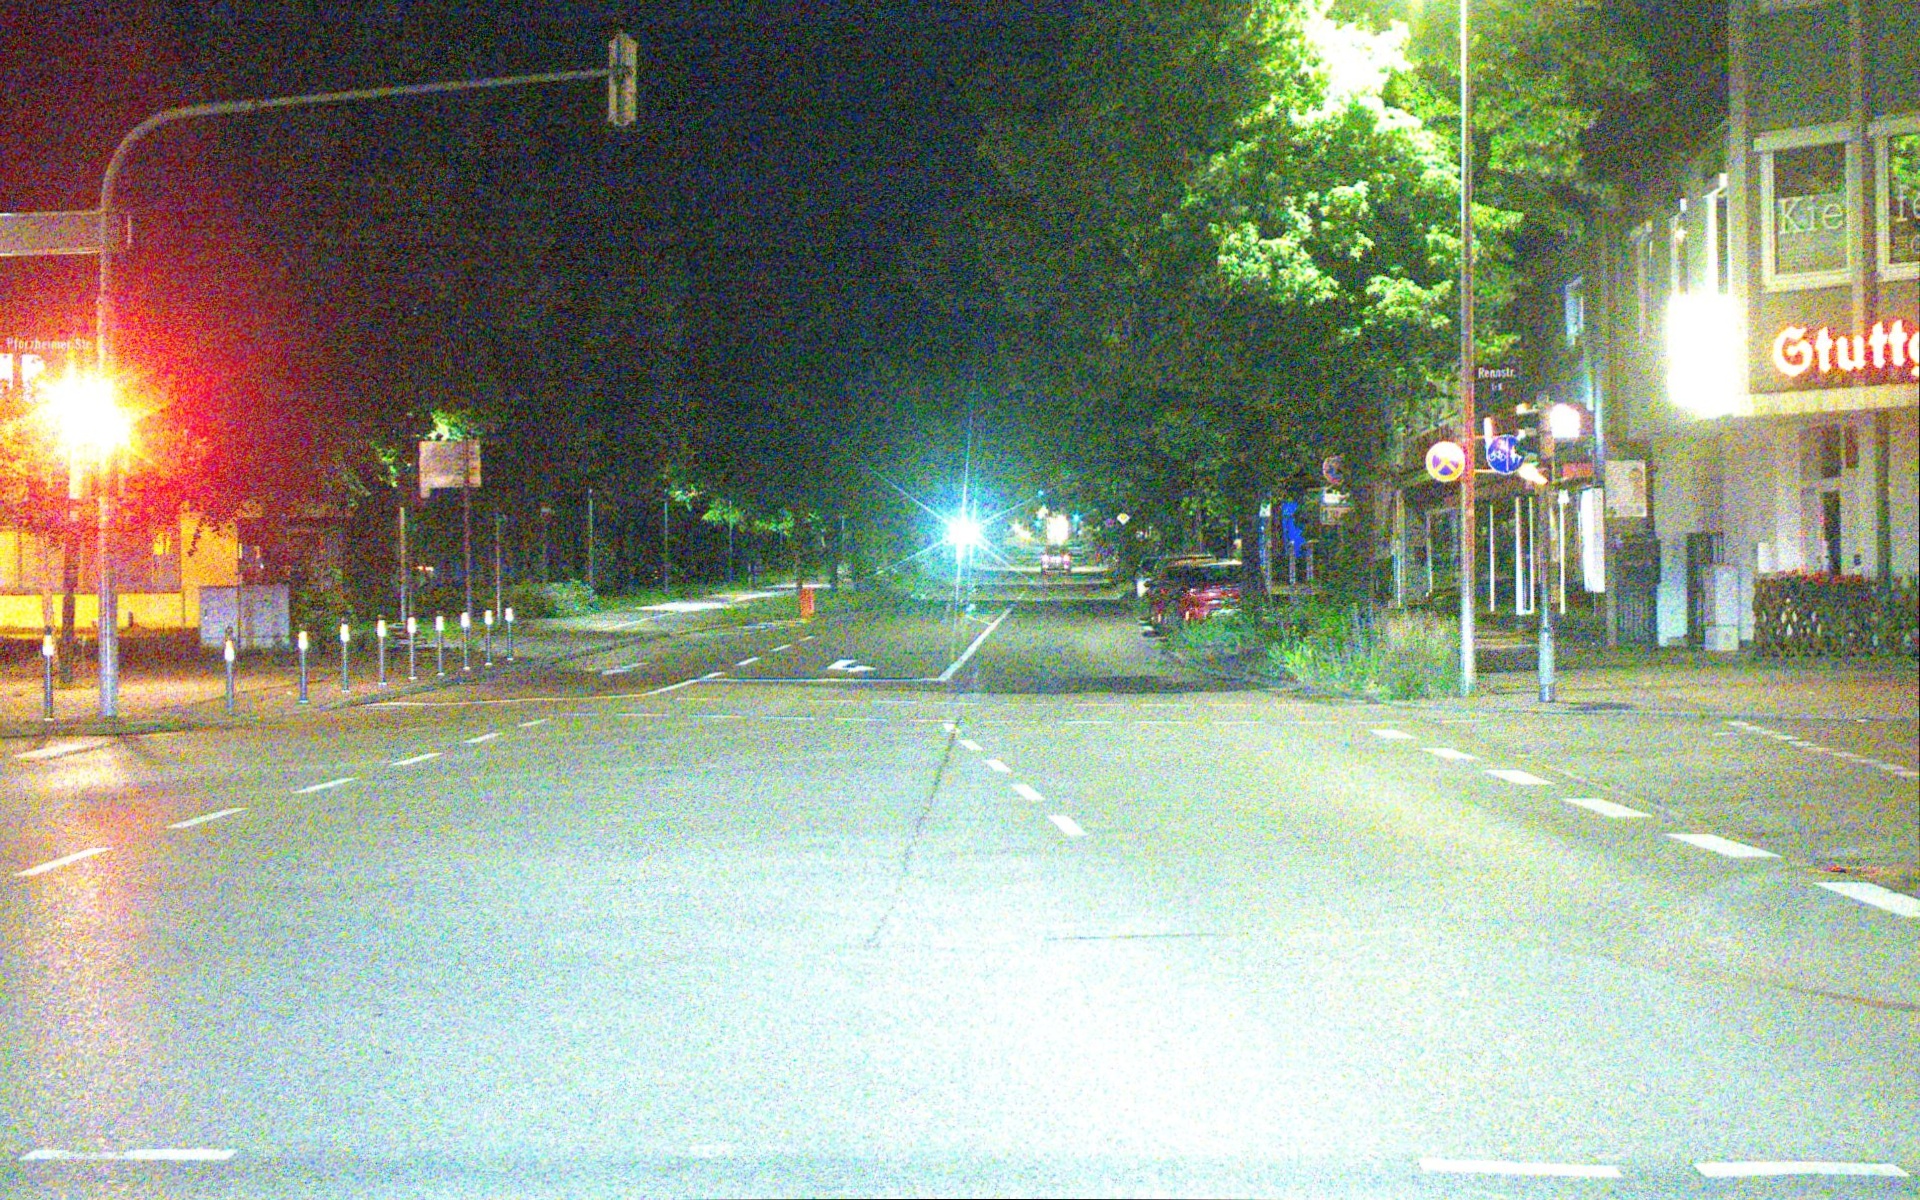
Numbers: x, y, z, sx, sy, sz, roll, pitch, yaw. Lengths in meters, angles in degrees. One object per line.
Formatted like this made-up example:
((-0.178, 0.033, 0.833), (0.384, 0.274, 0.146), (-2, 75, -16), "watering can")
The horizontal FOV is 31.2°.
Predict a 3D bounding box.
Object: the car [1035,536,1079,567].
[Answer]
((5.285, -2.656, 187.741), (2.227, 1.645, 4.000), (0, 1, 0), "car")

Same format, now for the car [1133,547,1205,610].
((5.737, -0.604, 94.542), (1.876, 1.678, 4.000), (0, 1, 2), "car")

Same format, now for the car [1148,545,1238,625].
((5.164, -0.346, 76.472), (1.876, 1.723, 4.000), (0, 1, 2), "car")

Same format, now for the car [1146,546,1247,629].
((4.704, -0.265, 68.801), (1.876, 1.610, 4.000), (0, 1, 2), "car")

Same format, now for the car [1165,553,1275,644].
((4.782, -0.048, 63.589), (1.876, 1.610, 4.000), (0, 1, 2), "car")
